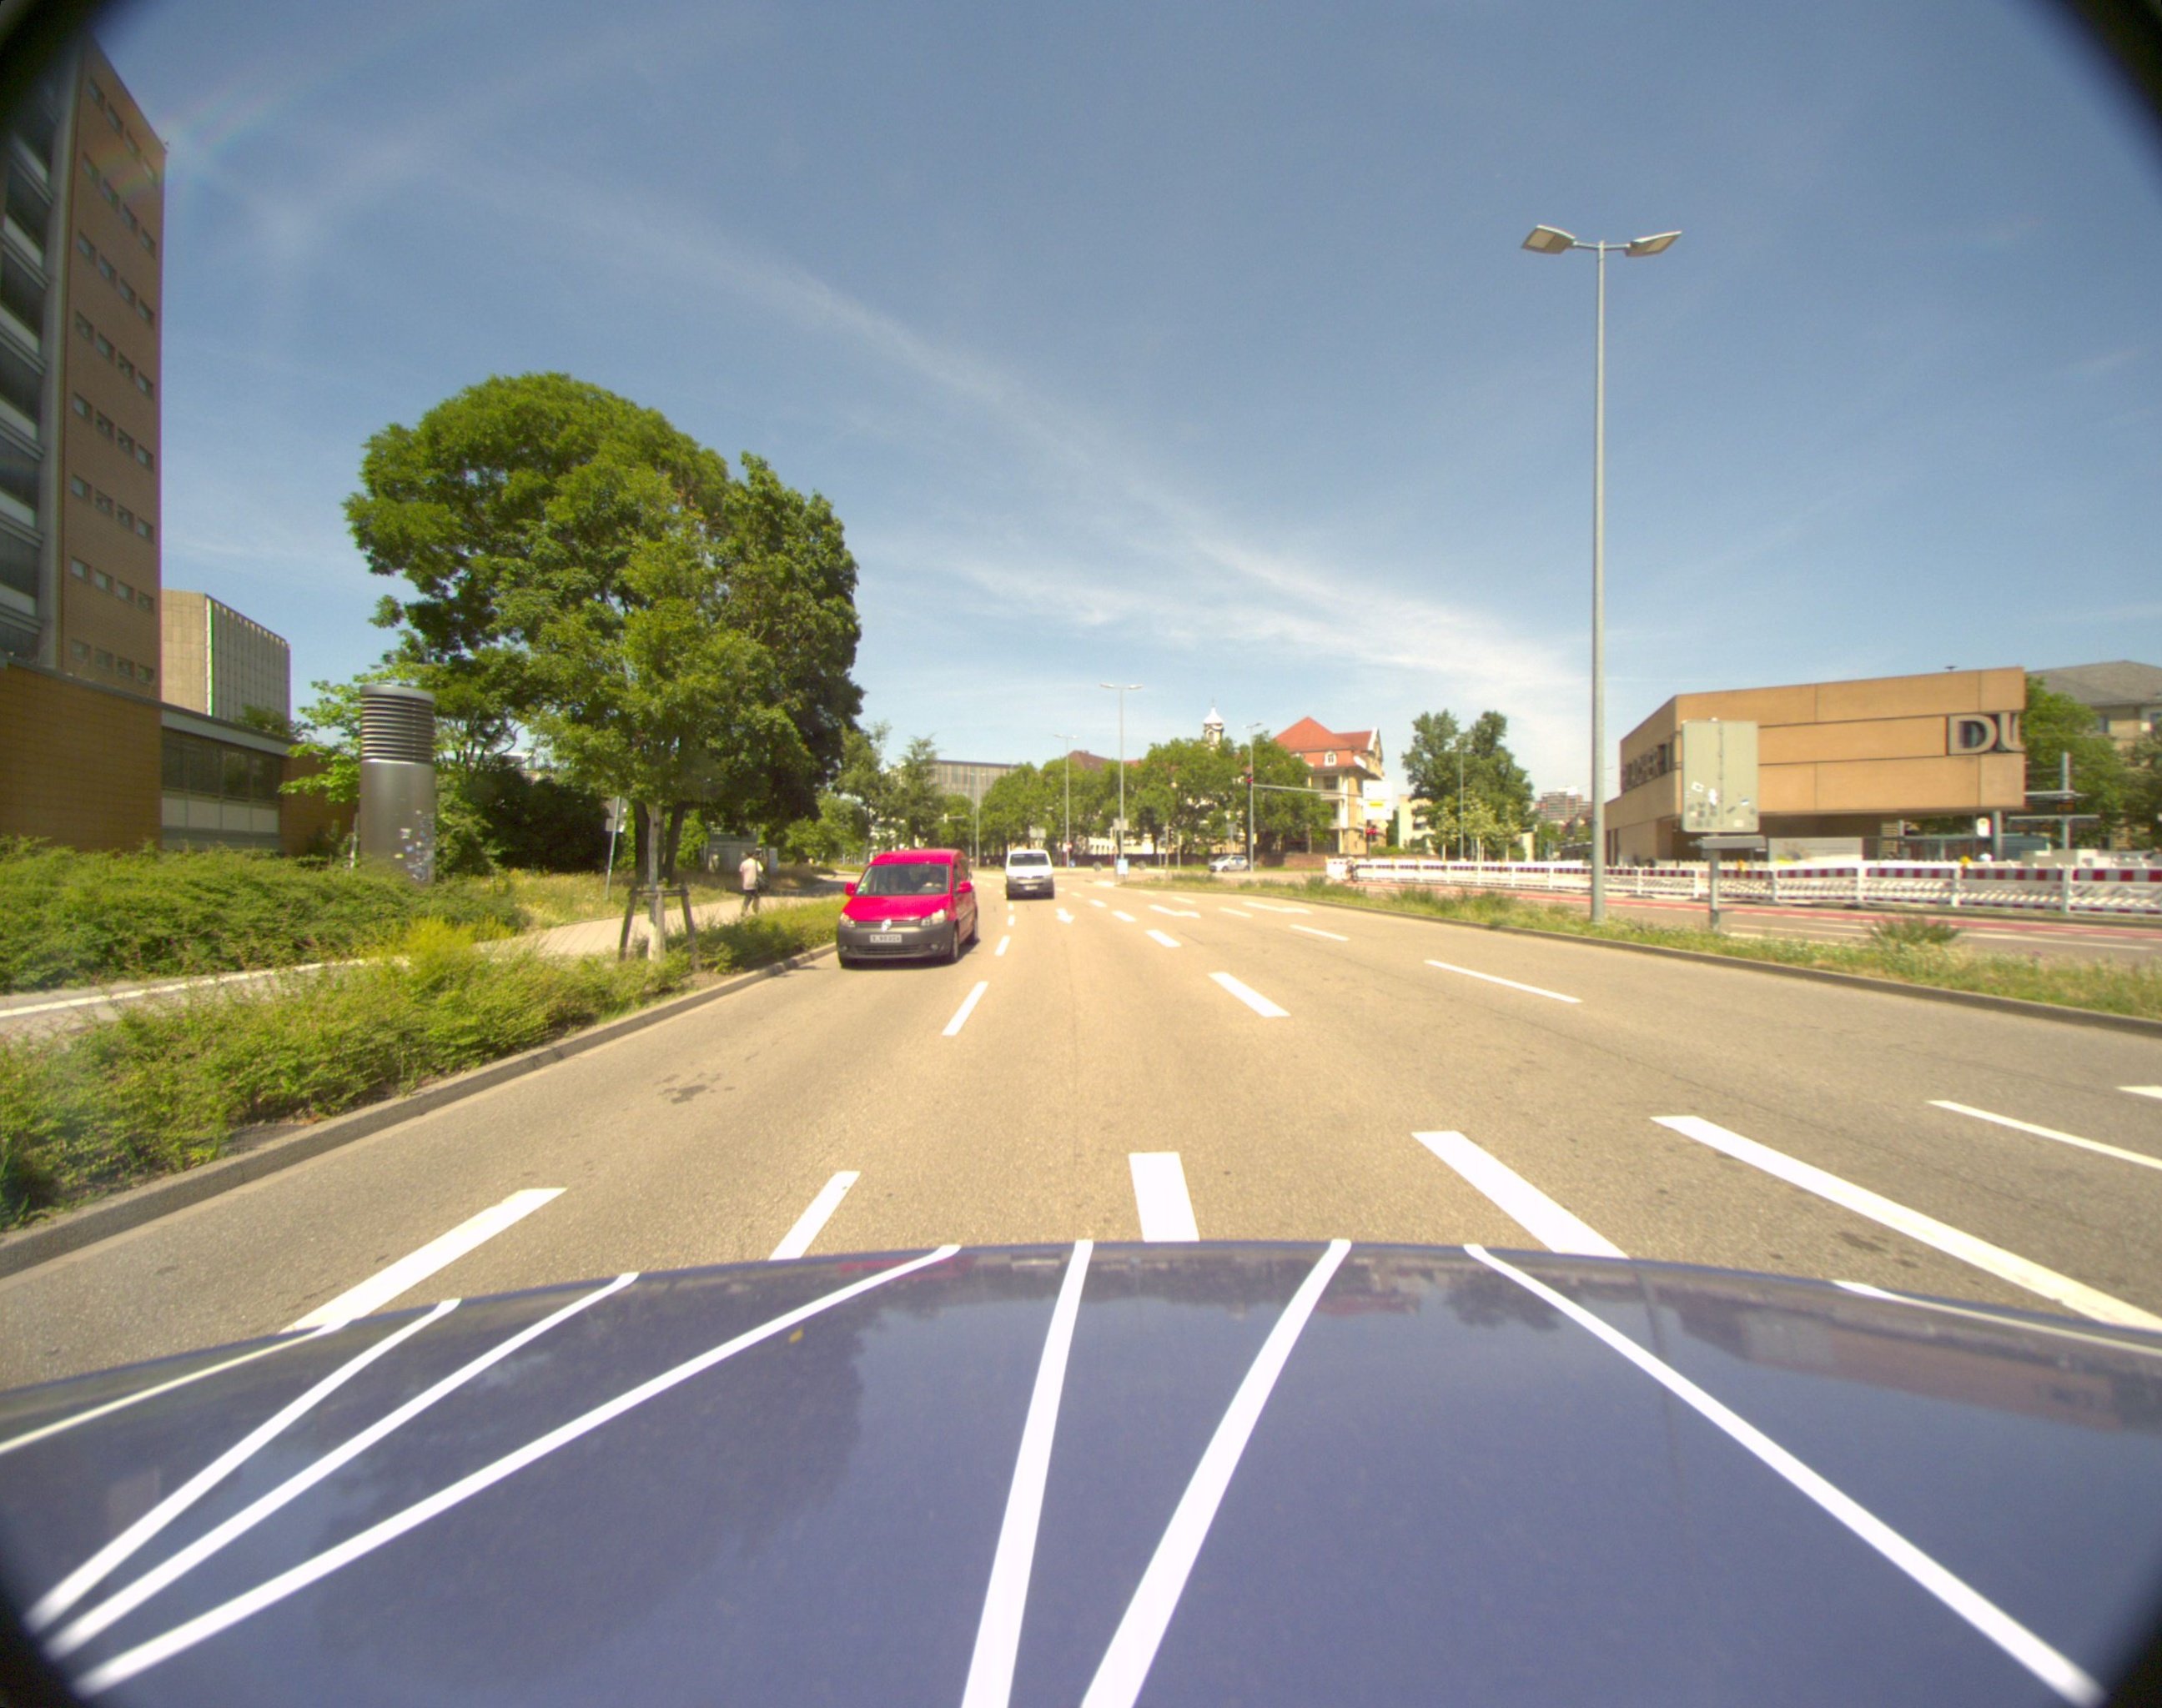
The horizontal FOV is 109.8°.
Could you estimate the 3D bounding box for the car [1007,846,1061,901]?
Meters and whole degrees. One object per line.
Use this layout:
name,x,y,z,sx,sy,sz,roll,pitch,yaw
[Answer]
car,-1.986,0.733,30.921,1.972,1.958,4.846,-2,0,-5

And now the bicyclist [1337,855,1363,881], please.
bicyclist,14.373,0.714,40.586,0.587,1.348,1.438,-3,1,-14

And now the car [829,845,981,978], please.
car,-2.778,0.820,13.005,1.656,1.848,4.545,-1,0,-2

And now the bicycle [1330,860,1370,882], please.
bicycle,14.295,0.871,40.395,0.879,1.066,2.229,-2,1,-14

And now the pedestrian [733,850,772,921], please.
pedestrian,-8.413,0.800,19.483,0.728,1.787,0.614,0,0,1

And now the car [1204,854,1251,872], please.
car,12.650,0.756,65.496,3.645,1.455,1.787,0,0,-30
